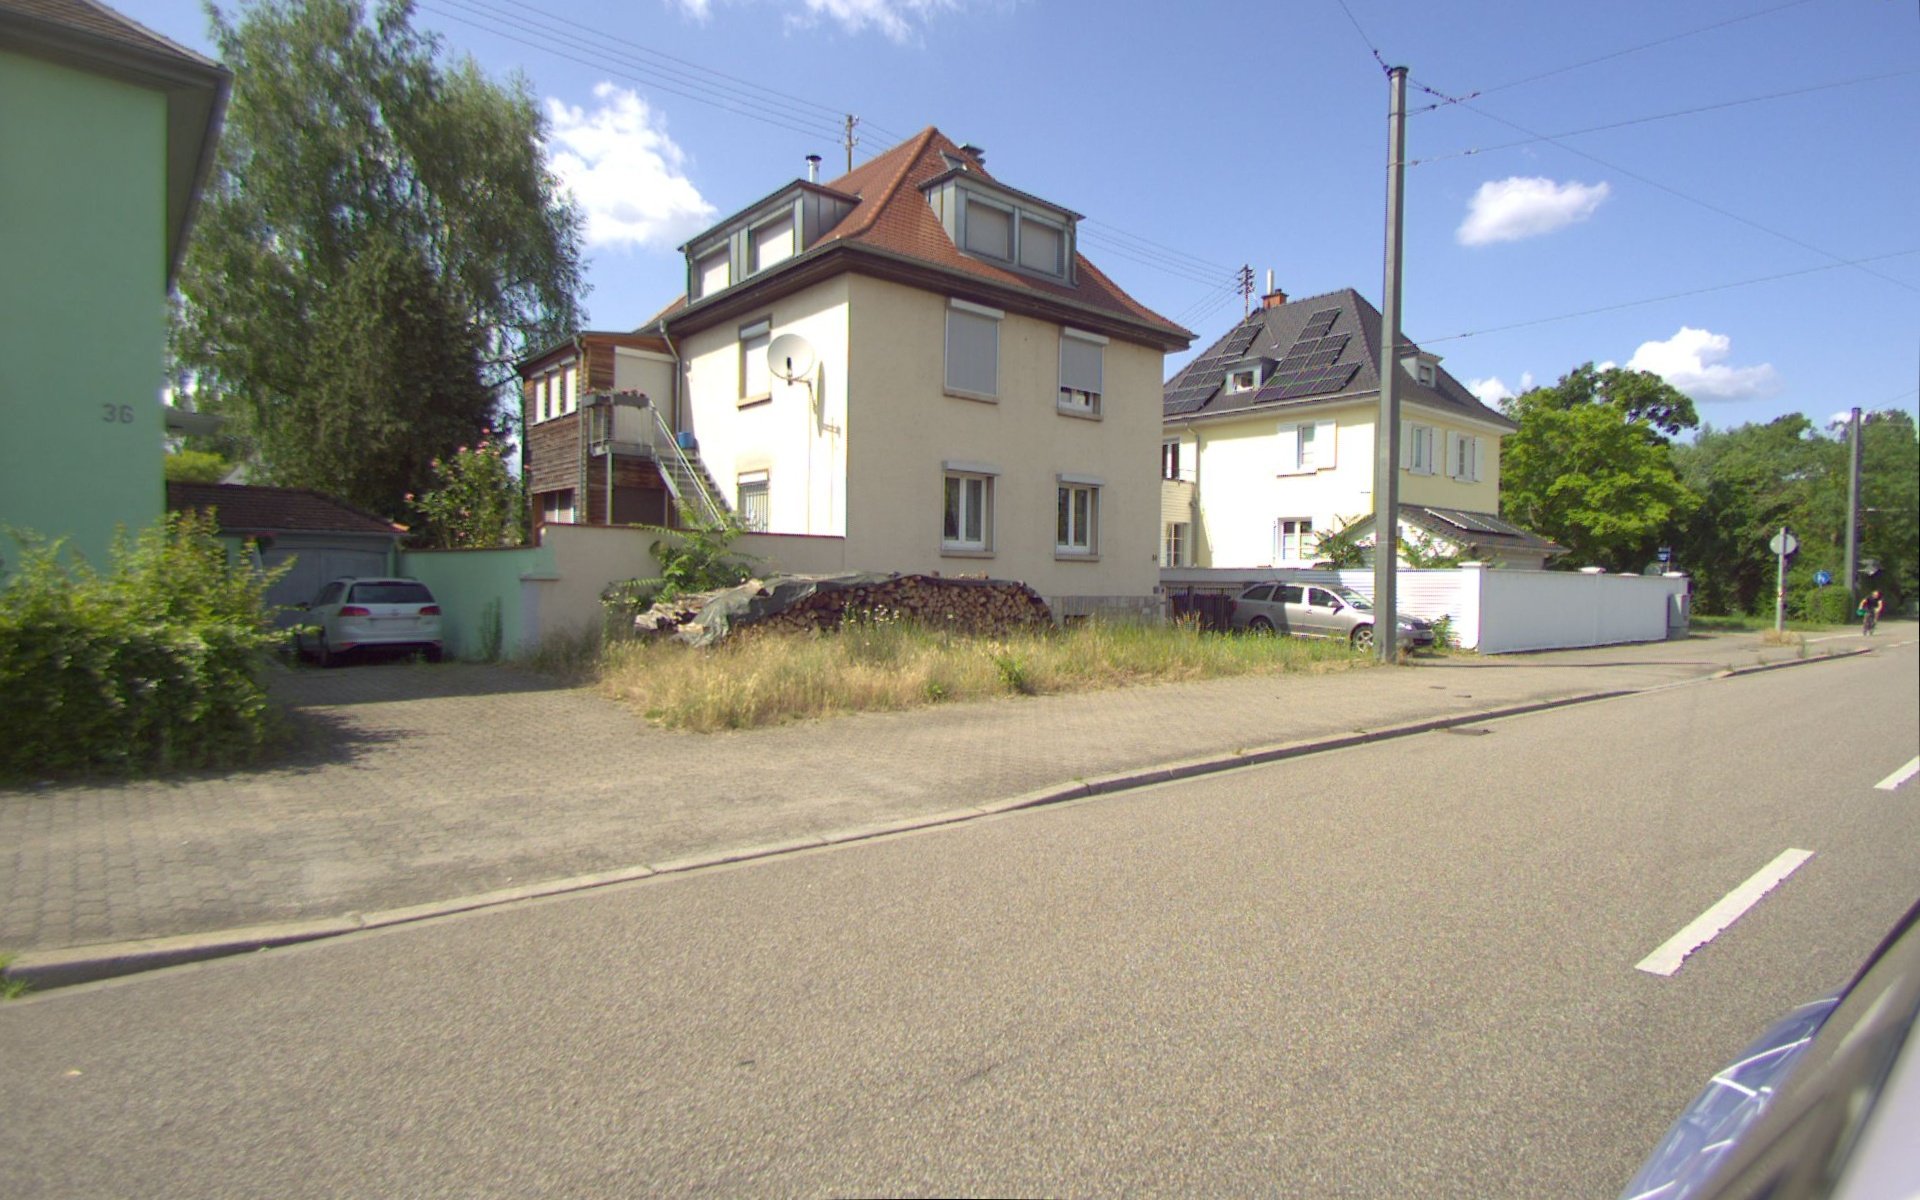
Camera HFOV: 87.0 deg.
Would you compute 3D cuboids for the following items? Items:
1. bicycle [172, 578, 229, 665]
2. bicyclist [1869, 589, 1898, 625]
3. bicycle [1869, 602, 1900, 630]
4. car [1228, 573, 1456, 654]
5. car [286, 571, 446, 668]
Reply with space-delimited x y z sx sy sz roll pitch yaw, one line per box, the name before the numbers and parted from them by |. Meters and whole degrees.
bicycle | -10.098 0.256 13.436 0.411 1.070 1.599 0 1 -44
bicyclist | 36.347 0.272 39.846 0.652 1.370 0.691 0 1 -34
bicycle | 36.476 0.624 39.916 1.494 1.079 0.557 0 1 -34
car | 8.372 0.227 22.519 1.732 1.479 4.460 0 3 -39
car | -10.311 0.308 17.436 1.708 1.466 3.993 0 0 -41
